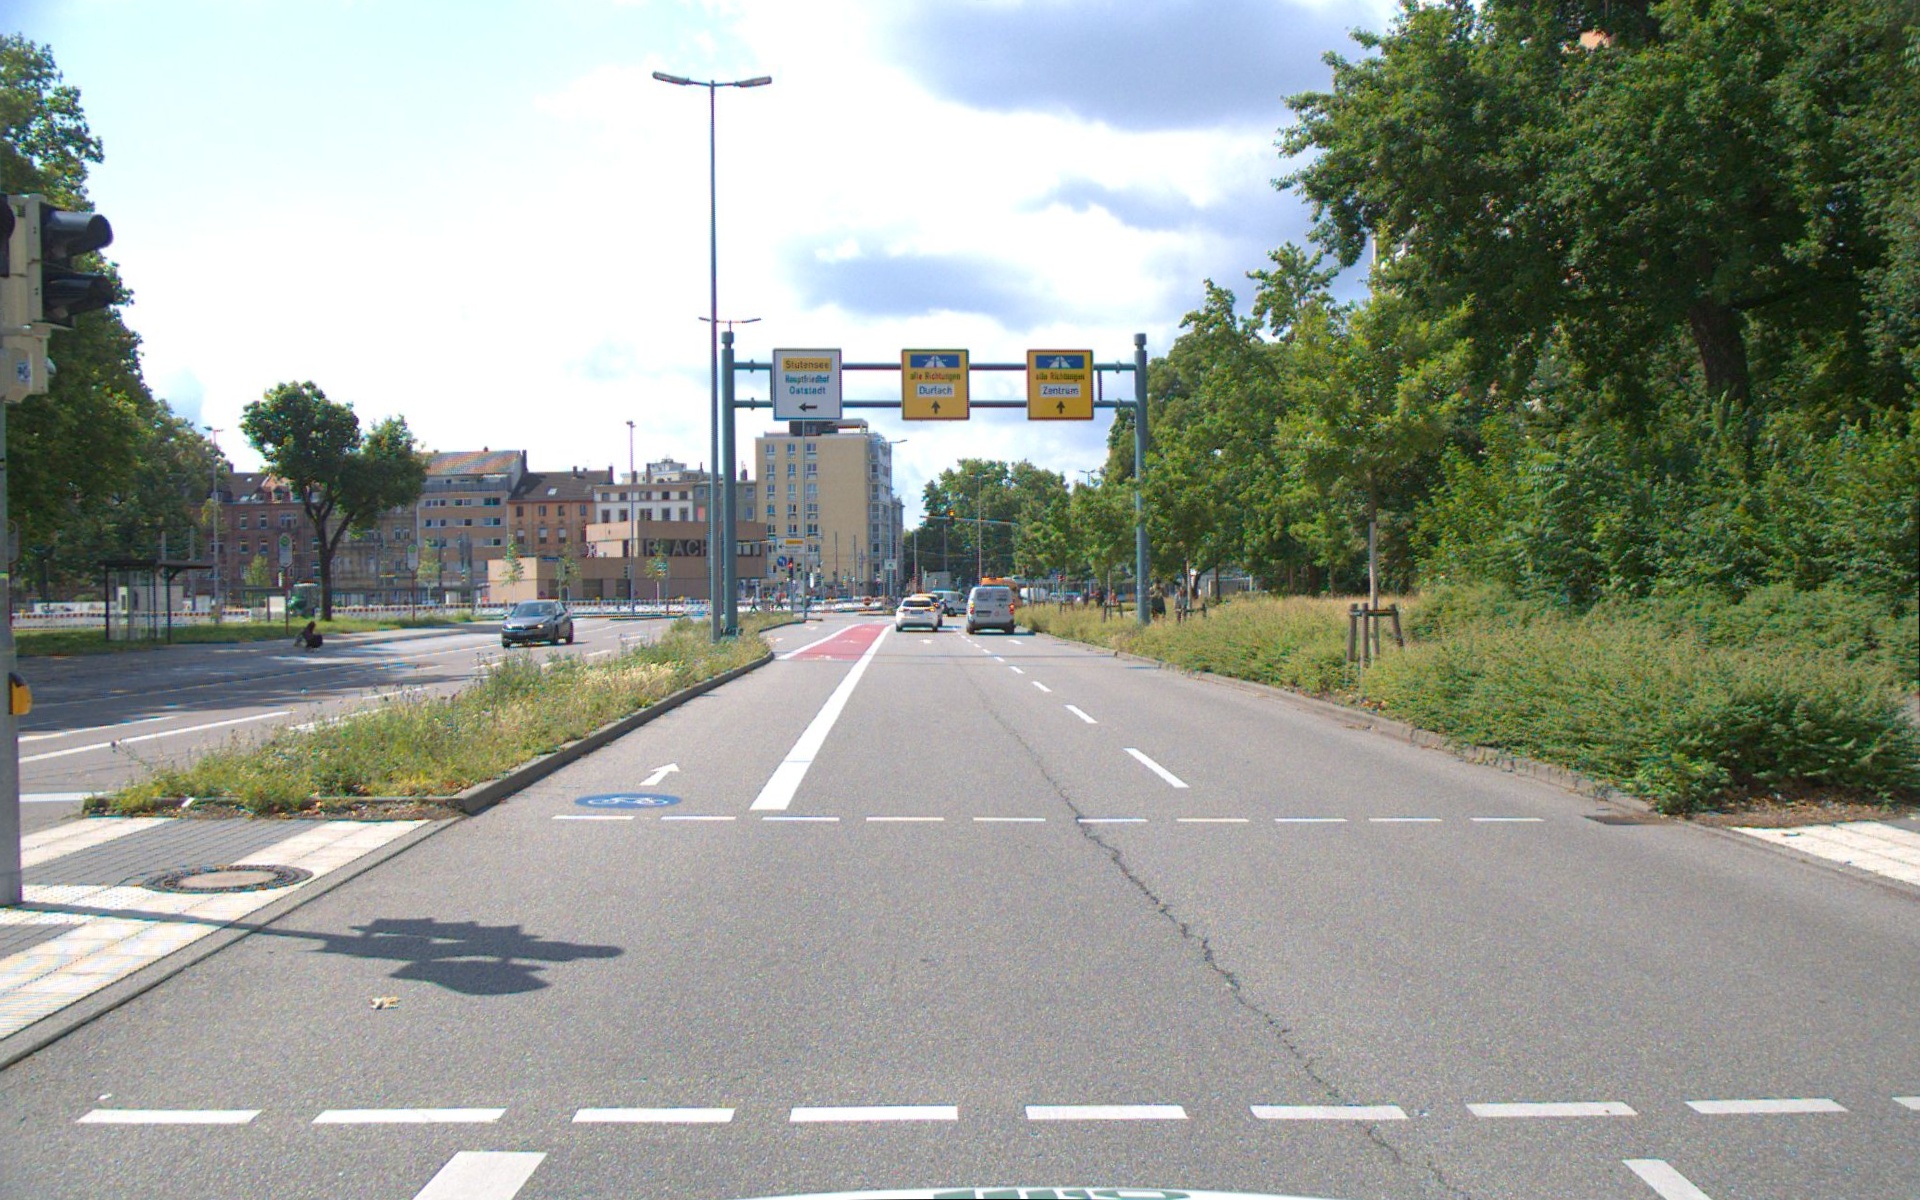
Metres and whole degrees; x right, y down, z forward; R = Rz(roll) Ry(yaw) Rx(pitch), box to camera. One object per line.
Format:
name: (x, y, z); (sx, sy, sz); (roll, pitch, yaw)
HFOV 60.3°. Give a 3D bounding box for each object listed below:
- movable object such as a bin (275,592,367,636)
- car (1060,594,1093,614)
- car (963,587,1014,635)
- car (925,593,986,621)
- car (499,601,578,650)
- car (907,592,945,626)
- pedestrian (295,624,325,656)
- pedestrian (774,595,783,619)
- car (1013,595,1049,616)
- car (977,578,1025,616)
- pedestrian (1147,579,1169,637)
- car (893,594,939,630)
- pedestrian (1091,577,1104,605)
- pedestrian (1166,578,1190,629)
movable object such as a bin: (-44.286, 0.963, 114.702); (2.247, 2.935, 5.510); (-2, -1, 41)
car: (11.295, 0.398, 159.732); (1.953, 1.858, 3.999); (-2, 0, 23)
car: (1.119, 0.426, 67.825); (1.903, 1.903, 4.824); (-1, 0, -1)
car: (-0.296, 0.496, 115.947); (3.962, 1.847, 1.971); (3, -1, -40)
car: (-13.821, 0.802, 54.458); (1.666, 1.470, 4.143); (-2, 0, -3)
car: (-1.641, 0.433, 80.054); (1.754, 1.566, 4.010); (1, 0, -1)
pedestrian: (-20.505, 1.254, 52.199); (0.680, 0.980, 0.742); (0, 0, -4)
pedestrian: (-13.424, 0.489, 122.397); (0.513, 1.764, 0.624); (-1, 0, 8)
car: (6.854, 0.502, 159.041); (1.964, 2.001, 4.638); (-2, 0, 22)
car: (3.176, -0.208, 127.237); (2.086, 2.829, 4.638); (-2, 0, 22)
pedestrian: (6.262, 0.249, 52.339); (0.555, 1.833, 0.638); (-1, 0, -2)
car: (-1.862, 0.481, 70.894); (1.865, 1.449, 4.384); (-1, 0, -1)
pedestrian: (8.493, -0.555, 102.285); (0.727, 1.766, 0.679); (-1, 0, 2)
pedestrian: (6.954, 0.111, 52.793); (0.610, 1.608, 0.708); (-1, 0, -2)
